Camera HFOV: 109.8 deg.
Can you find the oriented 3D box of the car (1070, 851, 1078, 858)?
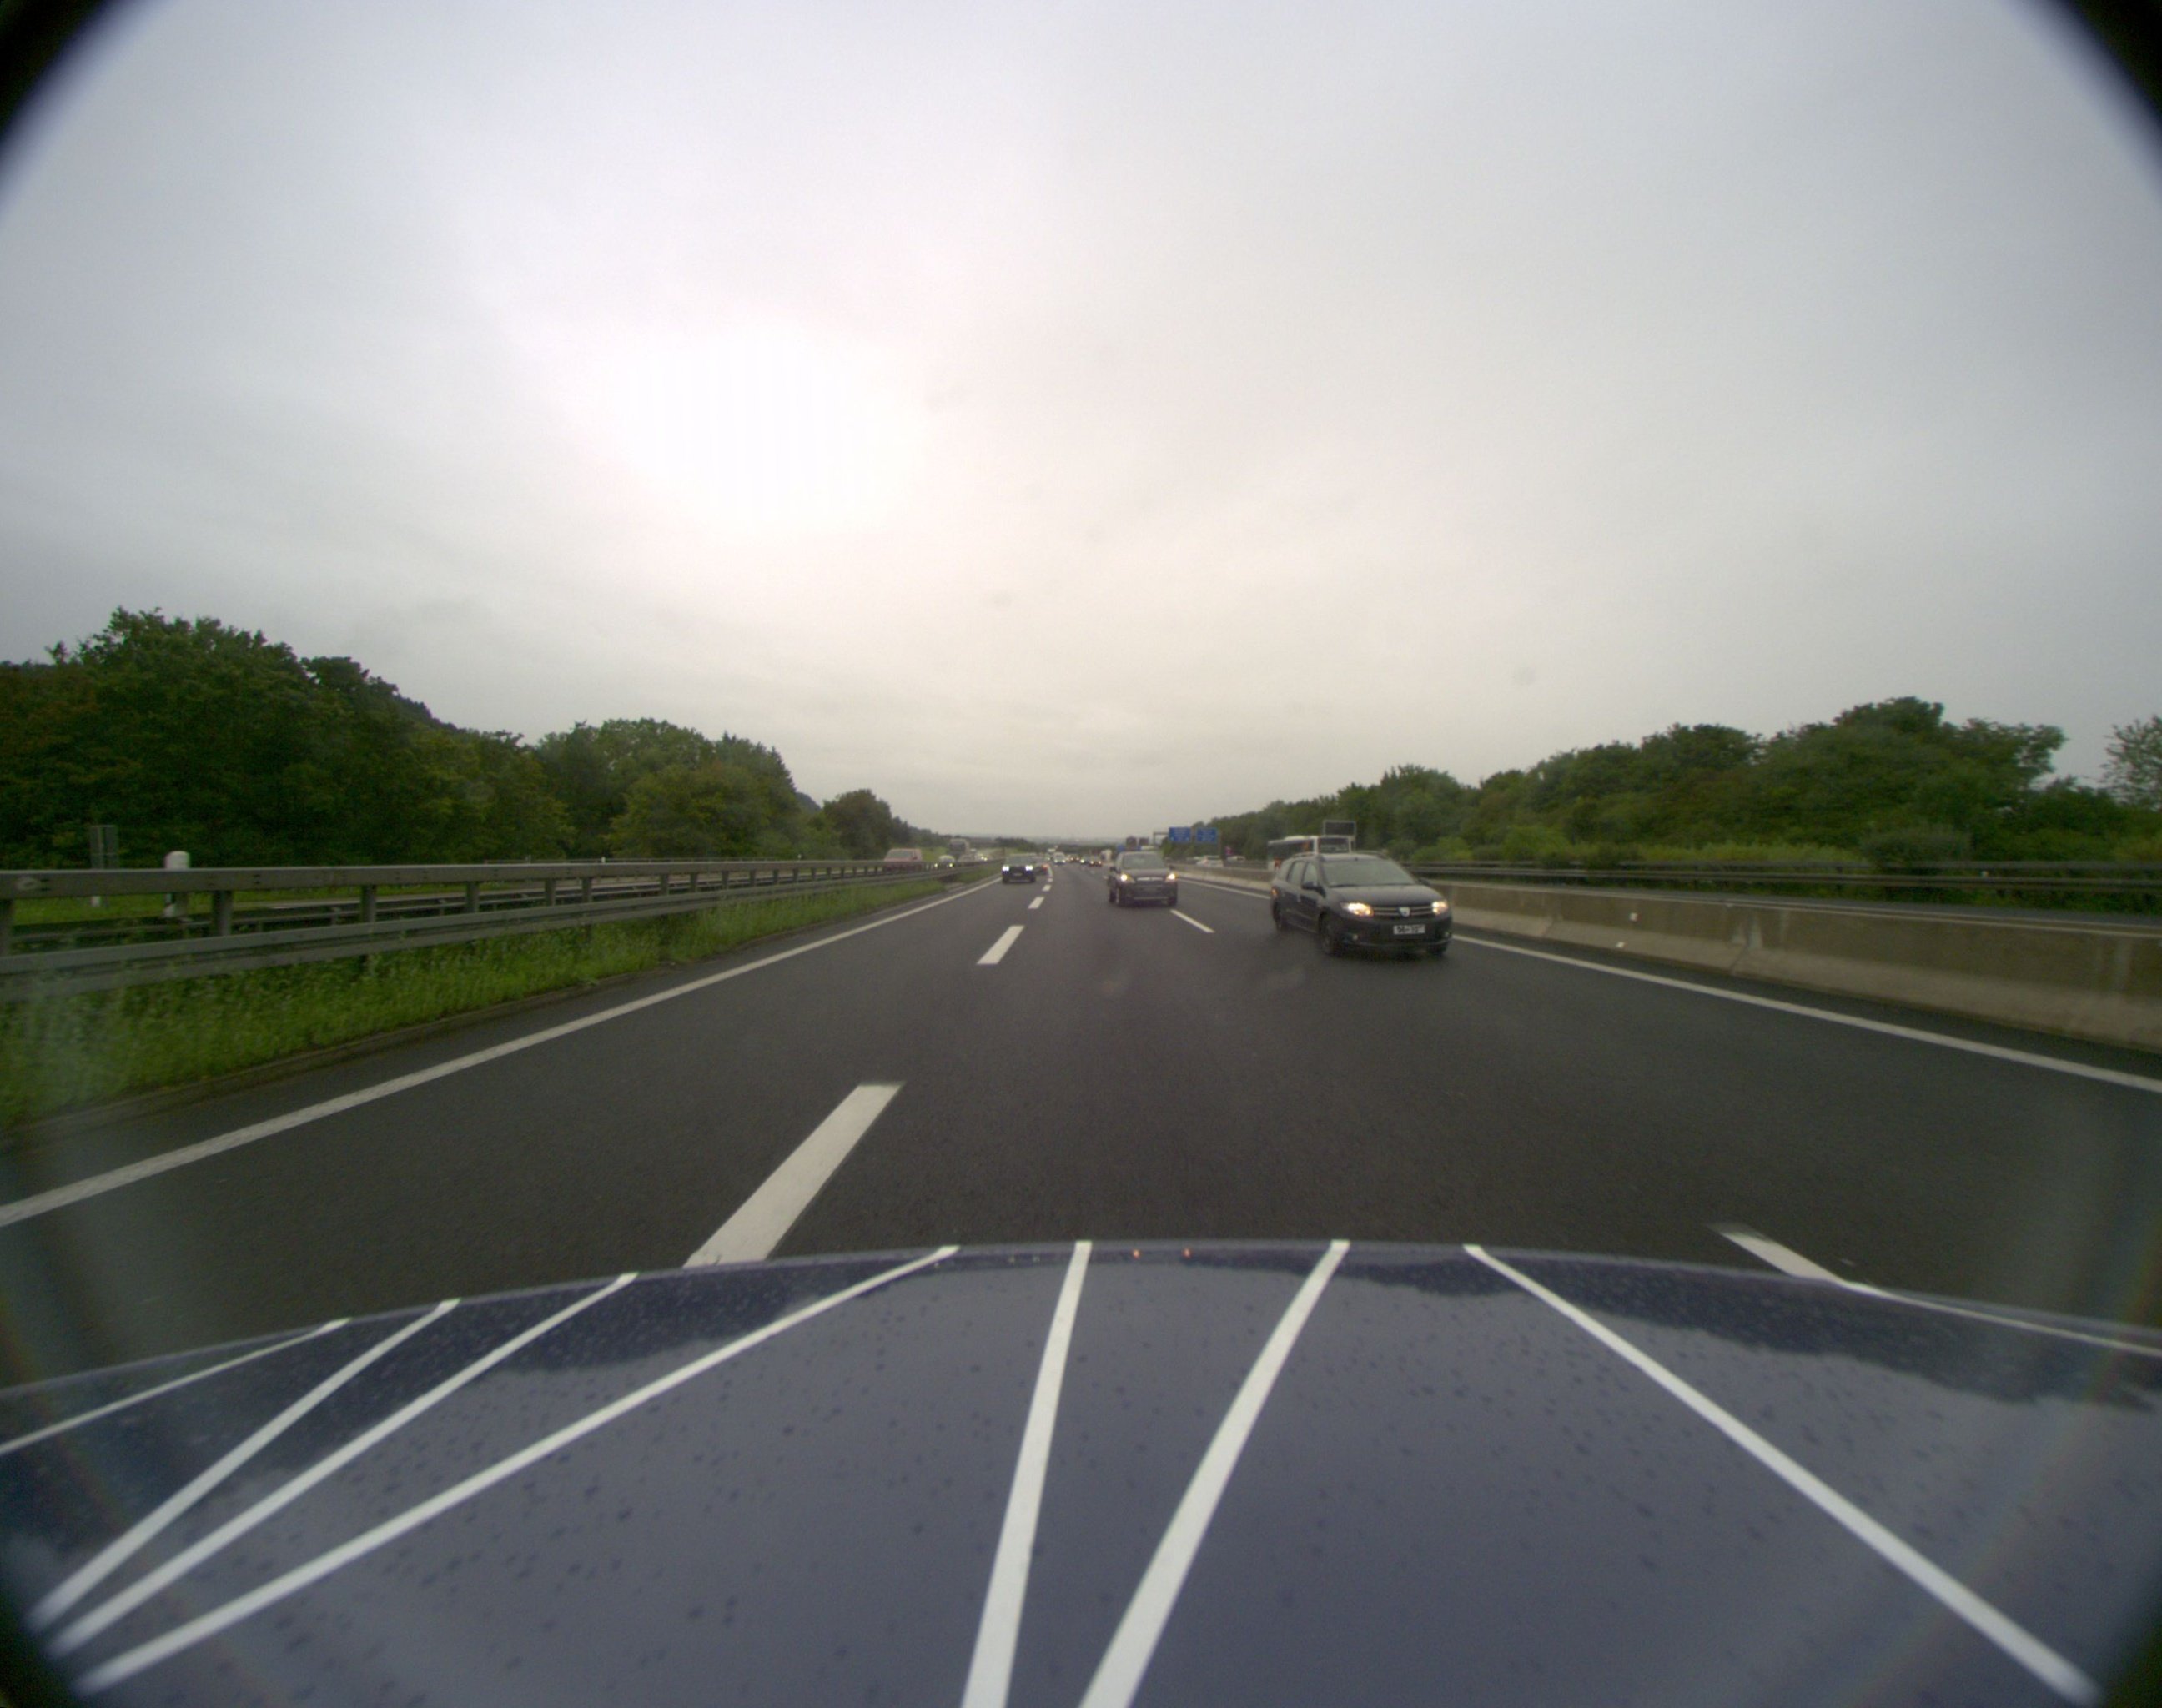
[{"bbox_3d":[-1.811,0.122,186.479,1.726,1.481,4.565,-1,1,-4],"label":"car"}]

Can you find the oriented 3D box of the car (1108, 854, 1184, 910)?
[{"bbox_3d":[1.943,0.804,23.723,1.813,1.571,3.833,-1,1,-3],"label":"car"}]

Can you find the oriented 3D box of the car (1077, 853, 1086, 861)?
[{"bbox_3d":[0.028,0.663,164.017,1.782,1.669,4.565,-1,1,-3],"label":"car"}]

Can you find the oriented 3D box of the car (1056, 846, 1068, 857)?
[{"bbox_3d":[-3.592,-0.492,141.738,2.016,1.994,4.565,-1,1,-4],"label":"car"}]

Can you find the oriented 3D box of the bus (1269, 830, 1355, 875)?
[{"bbox_3d":[16.768,-0.143,56.296,2.705,2.941,11.895,0,1,0],"label":"bus"}]

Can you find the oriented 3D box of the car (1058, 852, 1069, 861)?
[{"bbox_3d":[-3.131,0.492,135.310,1.920,1.481,4.565,-1,1,-4],"label":"car"}]

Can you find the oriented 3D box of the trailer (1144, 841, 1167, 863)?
[{"bbox_3d":[13.249,-0.435,135.573,2.911,3.727,8.925,-1,1,-2],"label":"trailer"}]

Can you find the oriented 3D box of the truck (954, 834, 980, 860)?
[{"bbox_3d":[-17.993,-1.113,120.336,2.799,3.878,10.025,-1,1,-2],"label":"truck"}]

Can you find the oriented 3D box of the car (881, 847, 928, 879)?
[{"bbox_3d":[-11.595,0.520,50.325,2.130,2.002,5.075,-1,1,-3],"label":"car"}]

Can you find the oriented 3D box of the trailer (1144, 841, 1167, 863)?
[{"bbox_3d":[13.249,-0.435,135.573,2.911,3.727,8.925,-1,1,-2],"label":"trailer"}]

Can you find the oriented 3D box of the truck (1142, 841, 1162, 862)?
[{"bbox_3d":[13.101,-0.478,139.901,2.895,3.727,5.943,-1,1,-2],"label":"truck"}]

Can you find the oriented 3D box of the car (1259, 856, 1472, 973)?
[{"bbox_3d":[4.301,0.804,12.342,1.726,1.481,4.566,-1,1,0],"label":"car"}]

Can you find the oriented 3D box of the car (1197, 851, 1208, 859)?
[{"bbox_3d":[27.259,0.209,170.105,1.805,1.776,4.411,0,0,0],"label":"car"}]

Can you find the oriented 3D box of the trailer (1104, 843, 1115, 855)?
[{"bbox_3d":[8.875,-1.589,236.718,2.643,3.715,10.808,-1,1,-1],"label":"trailer"}]

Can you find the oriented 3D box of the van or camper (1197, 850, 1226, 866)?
[{"bbox_3d":[12.077,0.326,70.781,1.753,1.439,4.584,-1,1,-2],"label":"van or camper"}]

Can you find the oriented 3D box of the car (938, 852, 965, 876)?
[{"bbox_3d":[-11.425,0.826,67.415,1.752,2.002,4.497,-1,1,-2],"label":"car"}]

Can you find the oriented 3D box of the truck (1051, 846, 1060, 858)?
[{"bbox_3d":[-8.708,-0.825,257.700,2.799,3.878,10.026,-1,1,-1],"label":"truck"}]

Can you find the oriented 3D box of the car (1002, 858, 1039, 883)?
[{"bbox_3d":[-3.649,0.966,46.555,1.867,1.349,4.566,-1,1,0],"label":"car"}]

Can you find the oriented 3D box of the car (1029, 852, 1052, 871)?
[{"bbox_3d":[-3.465,0.639,65.477,1.886,1.519,3.999,-1,1,-1],"label":"car"}]

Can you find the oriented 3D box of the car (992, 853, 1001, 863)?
[{"bbox_3d":[-18.665,0.871,167.762,1.752,2.002,4.496,-1,1,-3],"label":"car"}]

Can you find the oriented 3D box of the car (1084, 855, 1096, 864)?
[{"bbox_3d":[1.552,0.890,131.656,1.726,1.397,4.565,-1,1,-3],"label":"car"}]
